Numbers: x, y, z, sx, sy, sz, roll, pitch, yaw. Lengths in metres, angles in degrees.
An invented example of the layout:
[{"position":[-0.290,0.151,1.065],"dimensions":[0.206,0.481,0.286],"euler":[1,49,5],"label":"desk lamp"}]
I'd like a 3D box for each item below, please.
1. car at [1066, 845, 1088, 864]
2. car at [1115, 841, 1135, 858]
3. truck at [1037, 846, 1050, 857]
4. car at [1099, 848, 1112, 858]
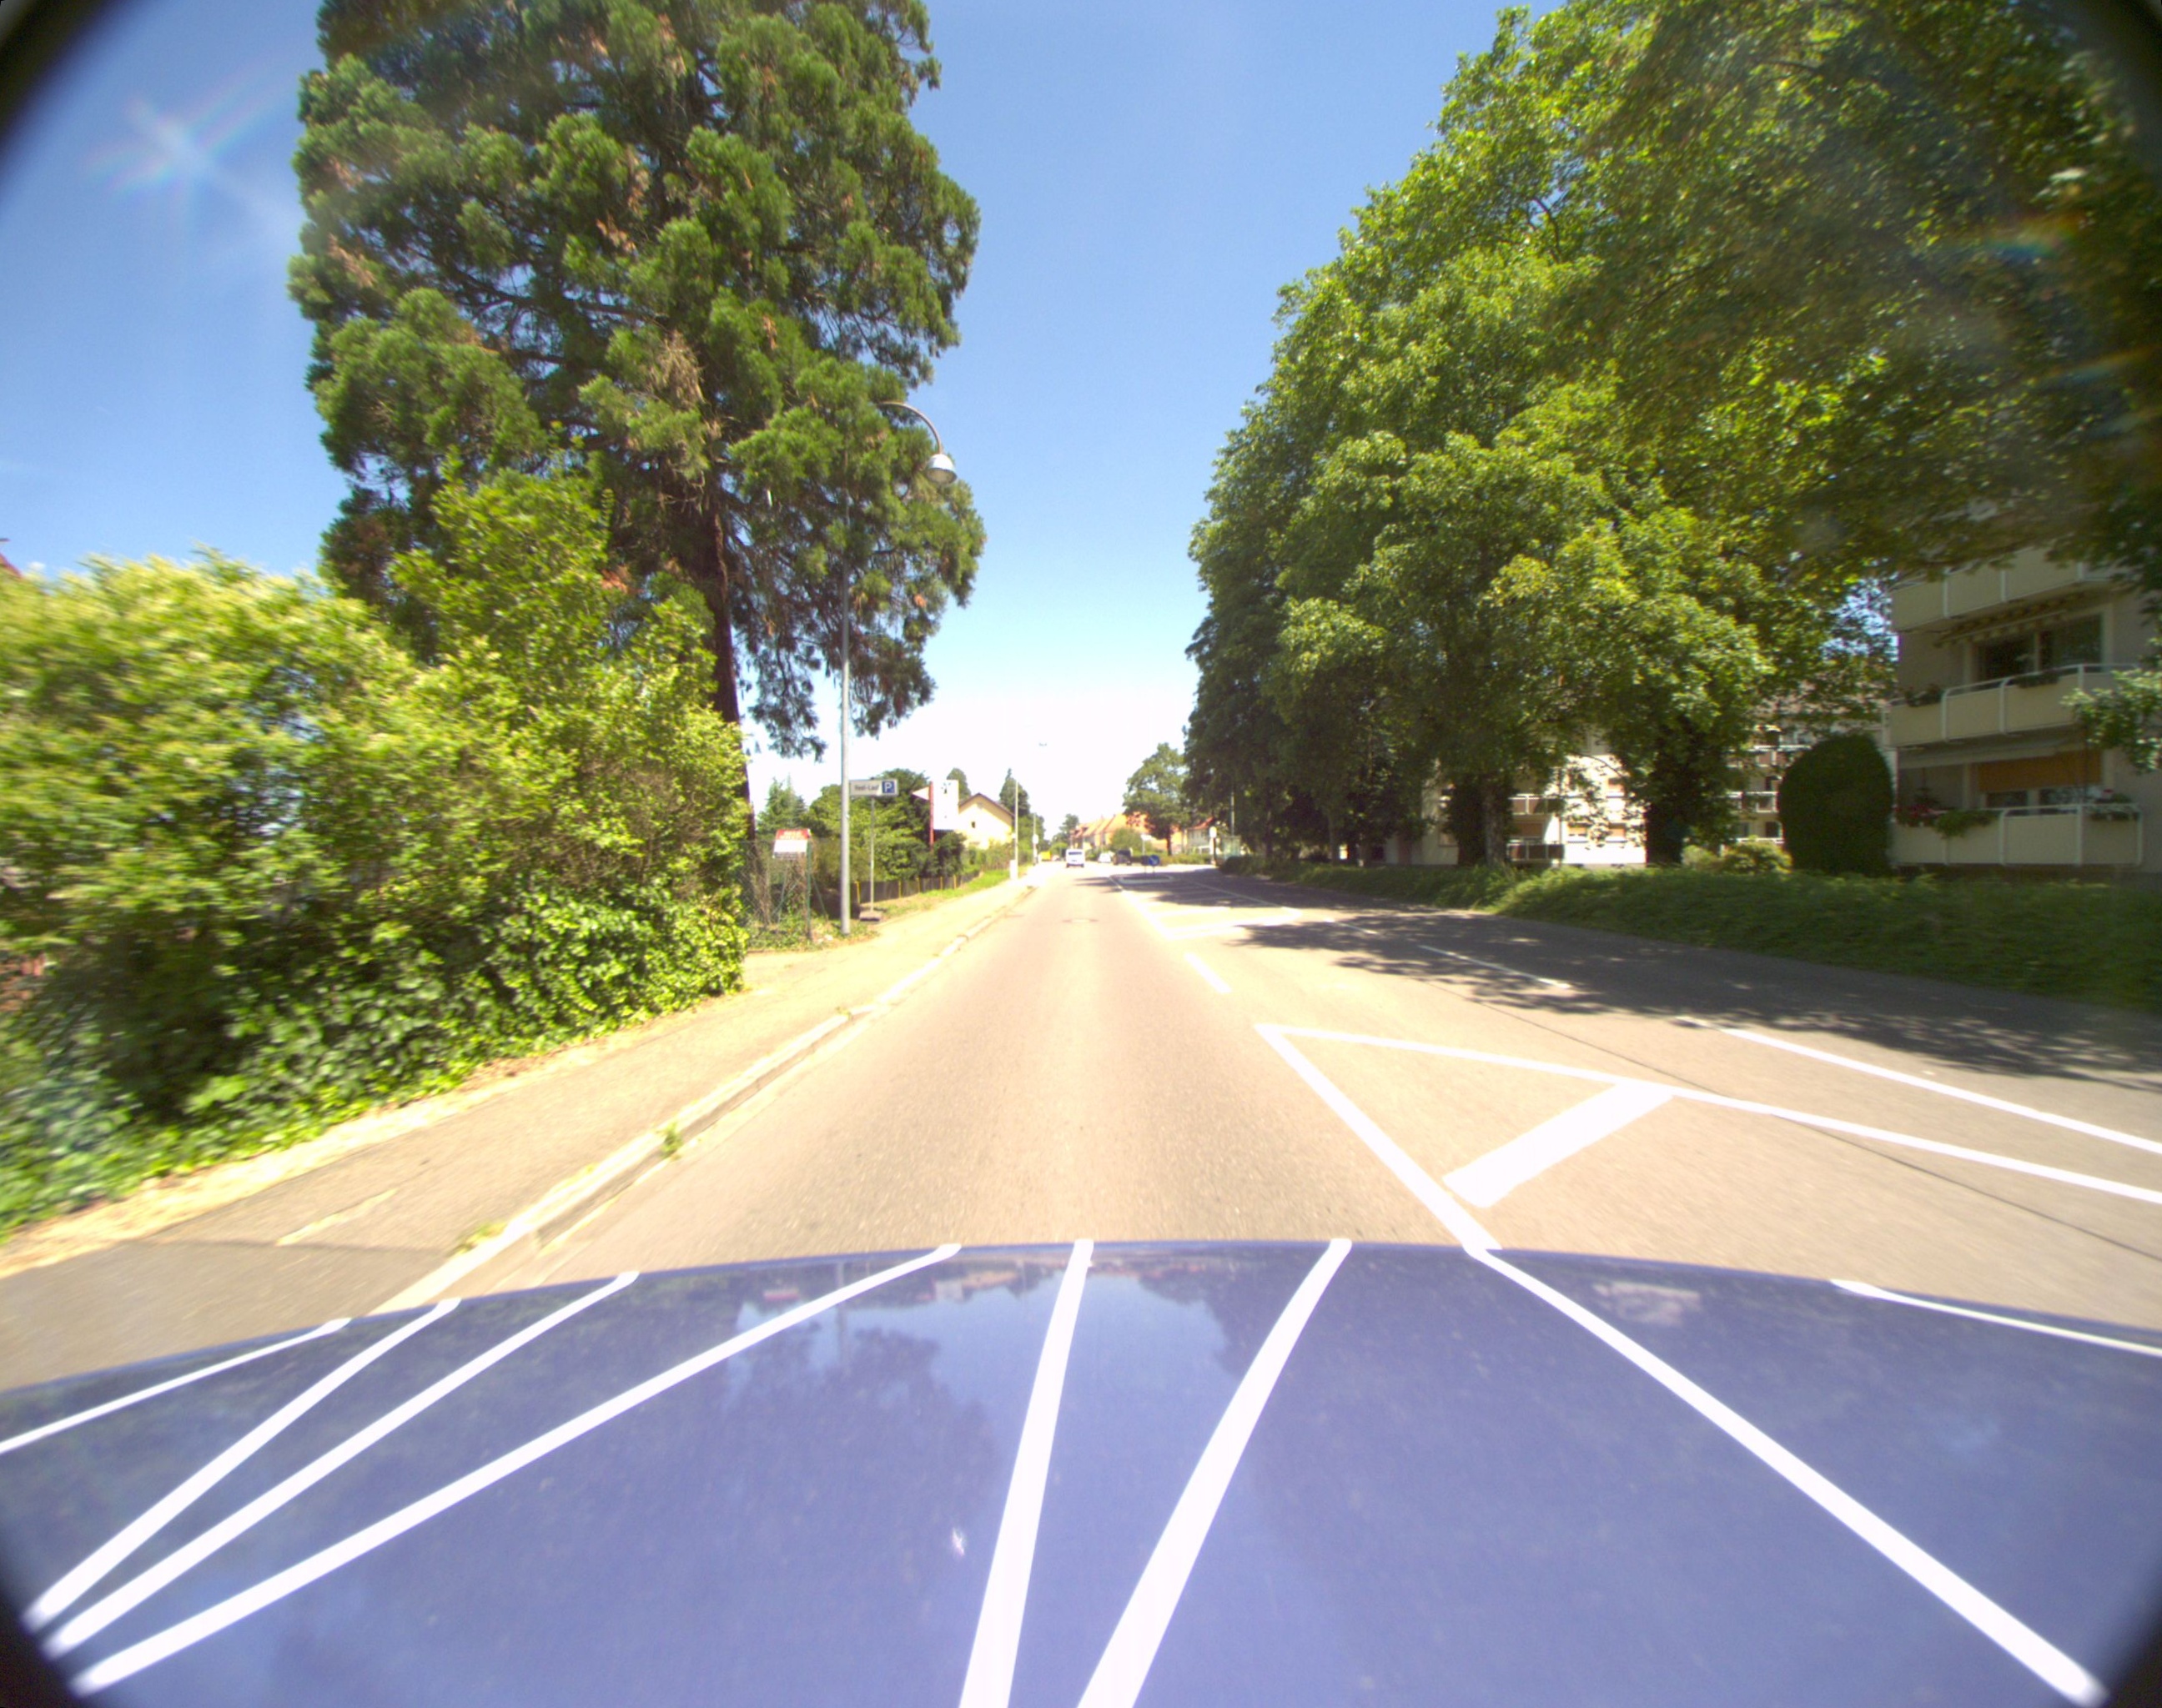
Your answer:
[{"position":[-0.516,0.068,83.360],"dimensions":[1.999,2.002,4.384],"euler":[-2,0,-5],"label":"car"},{"position":[5.336,-0.566,93.357],"dimensions":[1.999,1.899,4.988],"euler":[-2,2,-2],"label":"car"},{"position":[-8.311,-0.552,168.418],"dimensions":[2.020,2.295,6.170],"euler":[-4,0,-11],"label":"truck"},{"position":[3.789,-0.180,119.714],"dimensions":[1.695,1.451,3.638],"euler":[-2,0,-3],"label":"car"}]
